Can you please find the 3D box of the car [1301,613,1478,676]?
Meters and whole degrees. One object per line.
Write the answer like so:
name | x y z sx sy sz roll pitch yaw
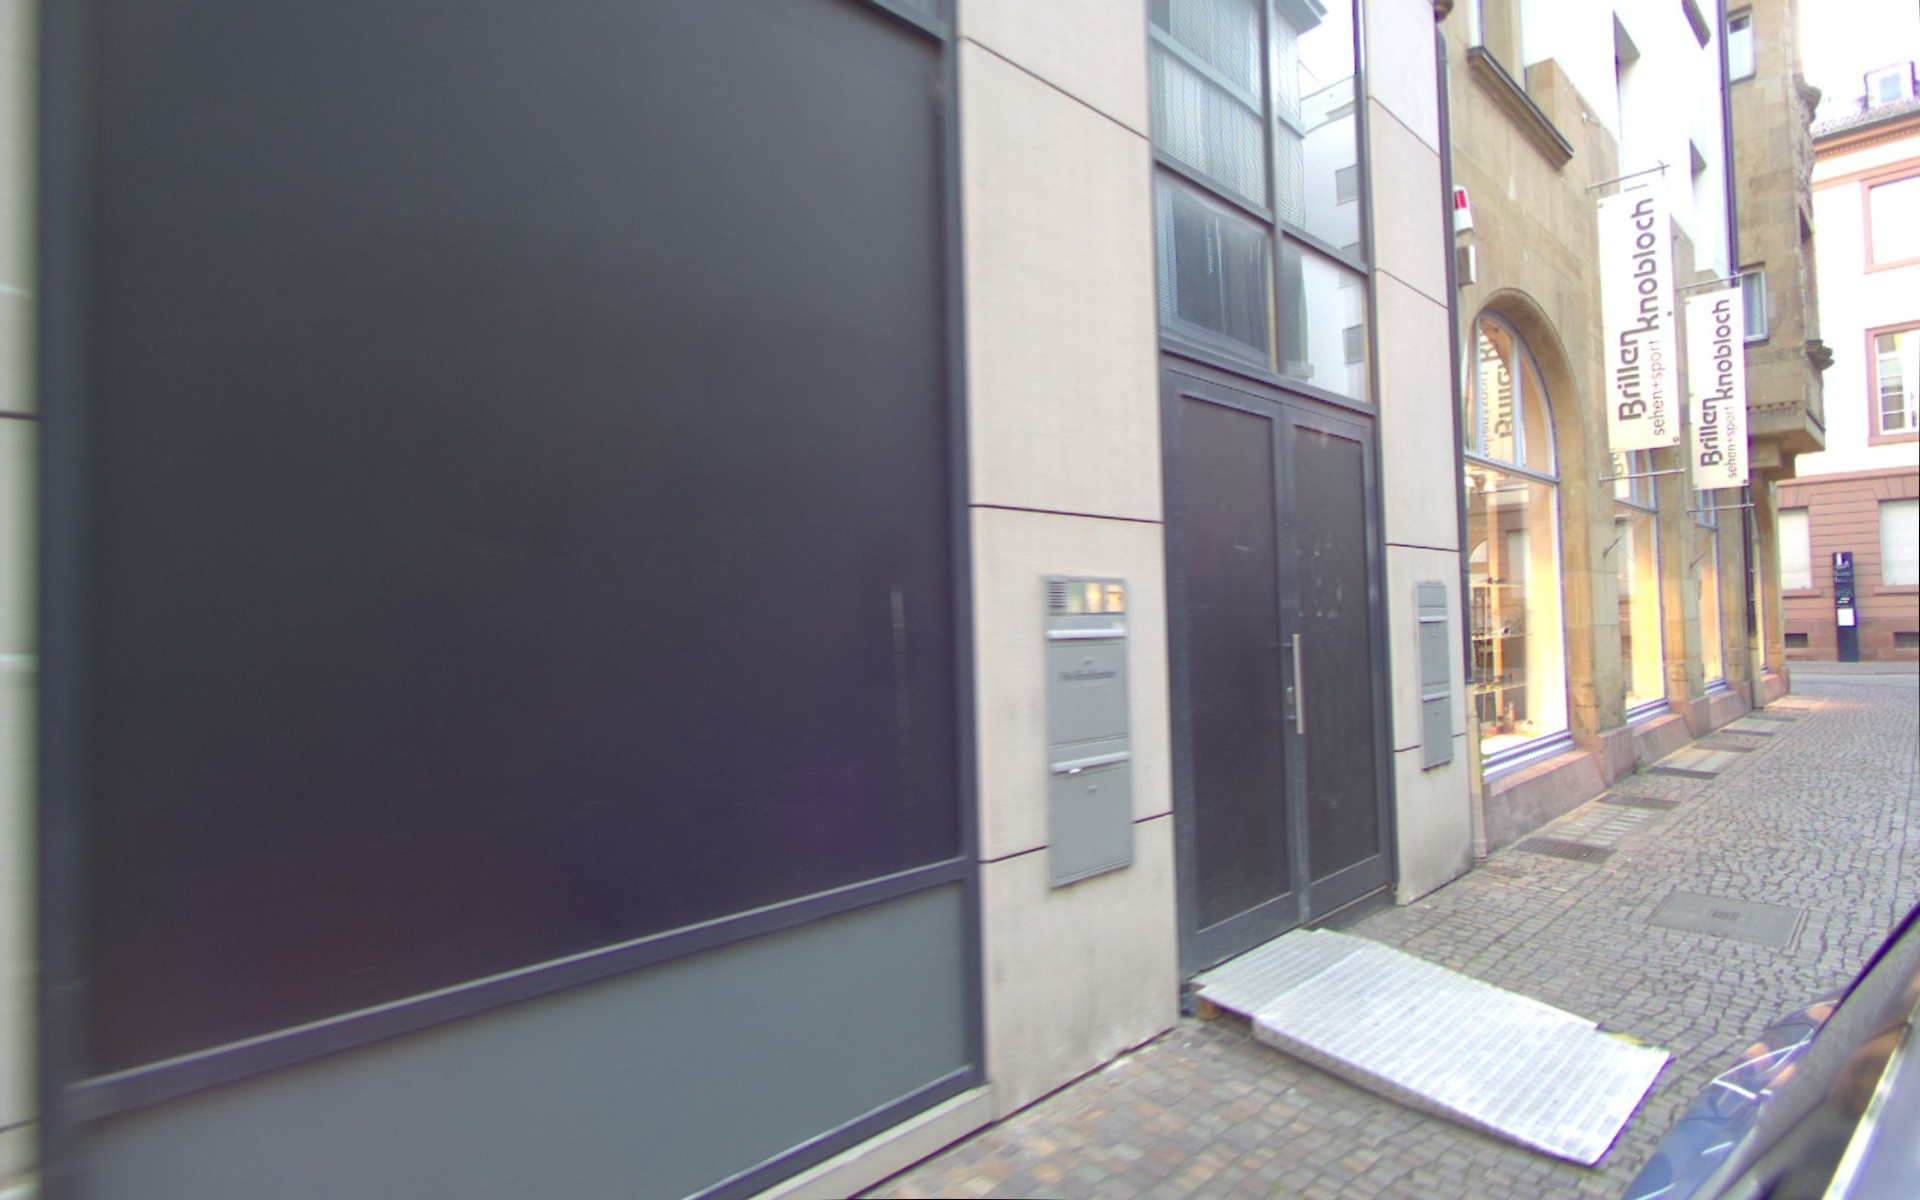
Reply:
car | 11.422 1.180 27.096 1.623 1.460 3.990 -3 0 -42
